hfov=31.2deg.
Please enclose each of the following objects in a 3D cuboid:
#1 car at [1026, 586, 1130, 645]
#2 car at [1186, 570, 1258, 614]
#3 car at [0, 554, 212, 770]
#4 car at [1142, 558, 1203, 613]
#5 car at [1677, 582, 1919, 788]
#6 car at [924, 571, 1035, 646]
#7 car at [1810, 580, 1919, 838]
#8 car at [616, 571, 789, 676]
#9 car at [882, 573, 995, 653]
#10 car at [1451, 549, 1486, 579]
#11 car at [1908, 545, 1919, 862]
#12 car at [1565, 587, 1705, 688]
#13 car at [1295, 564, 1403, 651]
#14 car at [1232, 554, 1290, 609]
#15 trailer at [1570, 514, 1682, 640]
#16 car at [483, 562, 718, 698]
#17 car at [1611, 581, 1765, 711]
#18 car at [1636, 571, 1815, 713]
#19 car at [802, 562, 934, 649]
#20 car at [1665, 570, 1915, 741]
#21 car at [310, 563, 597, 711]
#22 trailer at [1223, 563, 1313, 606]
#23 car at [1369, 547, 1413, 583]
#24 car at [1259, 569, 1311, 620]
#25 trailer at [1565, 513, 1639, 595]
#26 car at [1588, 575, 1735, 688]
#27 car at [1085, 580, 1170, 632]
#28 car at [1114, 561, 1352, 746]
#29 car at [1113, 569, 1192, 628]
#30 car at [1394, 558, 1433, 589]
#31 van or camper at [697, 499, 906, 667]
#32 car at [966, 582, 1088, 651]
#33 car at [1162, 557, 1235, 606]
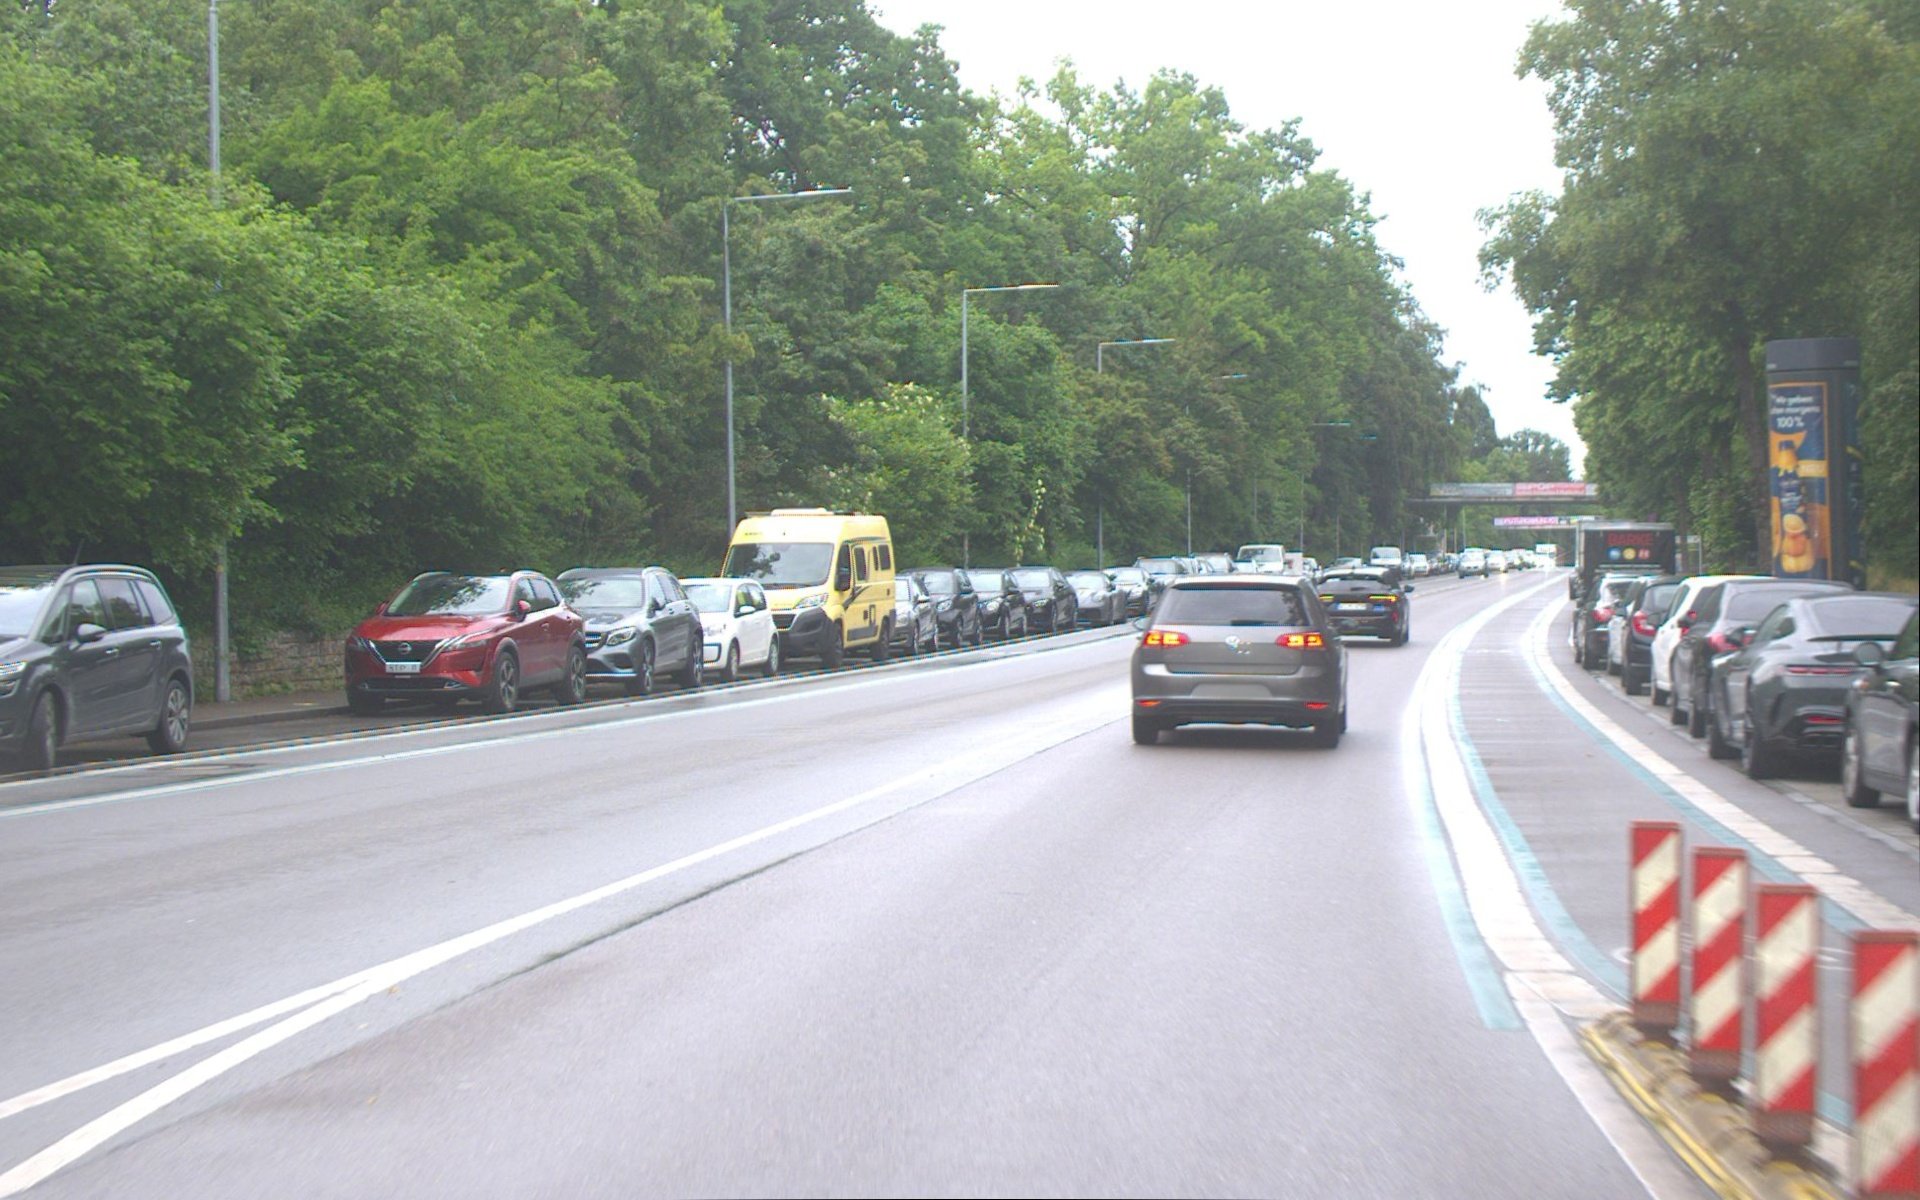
[{"bbox_3d":[2.843,0.352,81.876,1.870,1.299,4.468,0,1,10],"label":"car"},{"bbox_3d":[9.143,-0.303,119.680,1.994,1.483,4.466,1,1,11],"label":"car"},{"bbox_3d":[-7.851,0.446,28.643,1.731,1.643,4.570,1,1,7],"label":"car"},{"bbox_3d":[6.185,-0.429,99.797,1.461,1.566,2.983,0,1,9],"label":"car"},{"bbox_3d":[6.623,0.588,25.994,1.853,1.394,4.384,2,0,6],"label":"car"},{"bbox_3d":[0.441,0.164,72.588,1.603,1.505,3.975,0,1,11],"label":"car"},{"bbox_3d":[6.246,0.619,20.549,1.697,1.408,3.703,2,0,6],"label":"car"},{"bbox_3d":[-3.721,0.321,50.289,1.618,1.444,3.655,-1,1,11],"label":"car"},{"bbox_3d":[-0.395,0.235,67.305,1.603,1.505,3.137,0,1,11],"label":"car"},{"bbox_3d":[29.534,-2.069,199.576,1.823,1.700,3.855,1,0,11],"label":"car"},{"bbox_3d":[5.613,0.545,15.581,1.822,1.609,4.251,1,0,6],"label":"car"},{"bbox_3d":[10.325,0.545,52.834,1.752,1.389,4.445,2,1,7],"label":"car"},{"bbox_3d":[7.230,0.114,63.616,1.881,1.461,3.999,2,1,7],"label":"car"},{"bbox_3d":[11.388,-0.714,129.859,1.940,2.007,4.739,0,1,8],"label":"car"},{"bbox_3d":[12.314,-0.449,63.781,1.907,2.240,4.766,1,1,10],"label":"trailer"},{"bbox_3d":[-4.685,0.344,45.519,1.994,1.694,4.614,0,1,9],"label":"car"},{"bbox_3d":[9.045,0.533,42.915,1.659,1.460,3.898,3,1,10],"label":"car"},{"bbox_3d":[8.377,0.420,37.857,1.560,1.455,3.675,1,1,7],"label":"car"},{"bbox_3d":[-1.605,0.071,61.606,1.680,1.493,4.147,-1,1,8],"label":"car"},{"bbox_3d":[7.744,0.465,32.449,1.857,1.450,4.749,1,1,9],"label":"car"},{"bbox_3d":[-5.795,0.391,39.927,1.920,1.611,4.488,-1,0,11],"label":"car"},{"bbox_3d":[12.073,-0.621,134.589,1.629,1.623,3.663,1,1,42],"label":"trailer"},{"bbox_3d":[24.897,-2.029,198.389,2.160,2.007,5.028,0,1,12],"label":"car"},{"bbox_3d":[13.274,-0.255,140.223,1.940,2.007,4.739,0,1,8],"label":"car"},{"bbox_3d":[20.453,-1.471,109.606,2.132,2.551,4.296,0,1,8],"label":"trailer"},{"bbox_3d":[9.794,0.412,48.220,1.618,1.461,3.999,2,1,6],"label":"car"},{"bbox_3d":[4.438,0.135,90.534,1.697,1.296,4.190,0,1,10],"label":"car"},{"bbox_3d":[2.353,0.448,29.956,1.871,1.436,4.295,2,0,4],"label":"car"},{"bbox_3d":[5.363,-0.049,95.363,1.697,1.578,4.137,0,1,10],"label":"car"},{"bbox_3d":[29.374,-1.729,222.487,2.160,2.007,5.028,0,1,12],"label":"car"},{"bbox_3d":[-2.533,-0.301,56.603,2.144,2.618,5.679,0,1,11],"label":"van or camper"},{"bbox_3d":[1.518,0.340,76.796,1.994,1.447,4.136,0,1,12],"label":"car"},{"bbox_3d":[7.870,-0.621,113.168,1.880,1.556,4.466,1,1,11],"label":"car"}]
